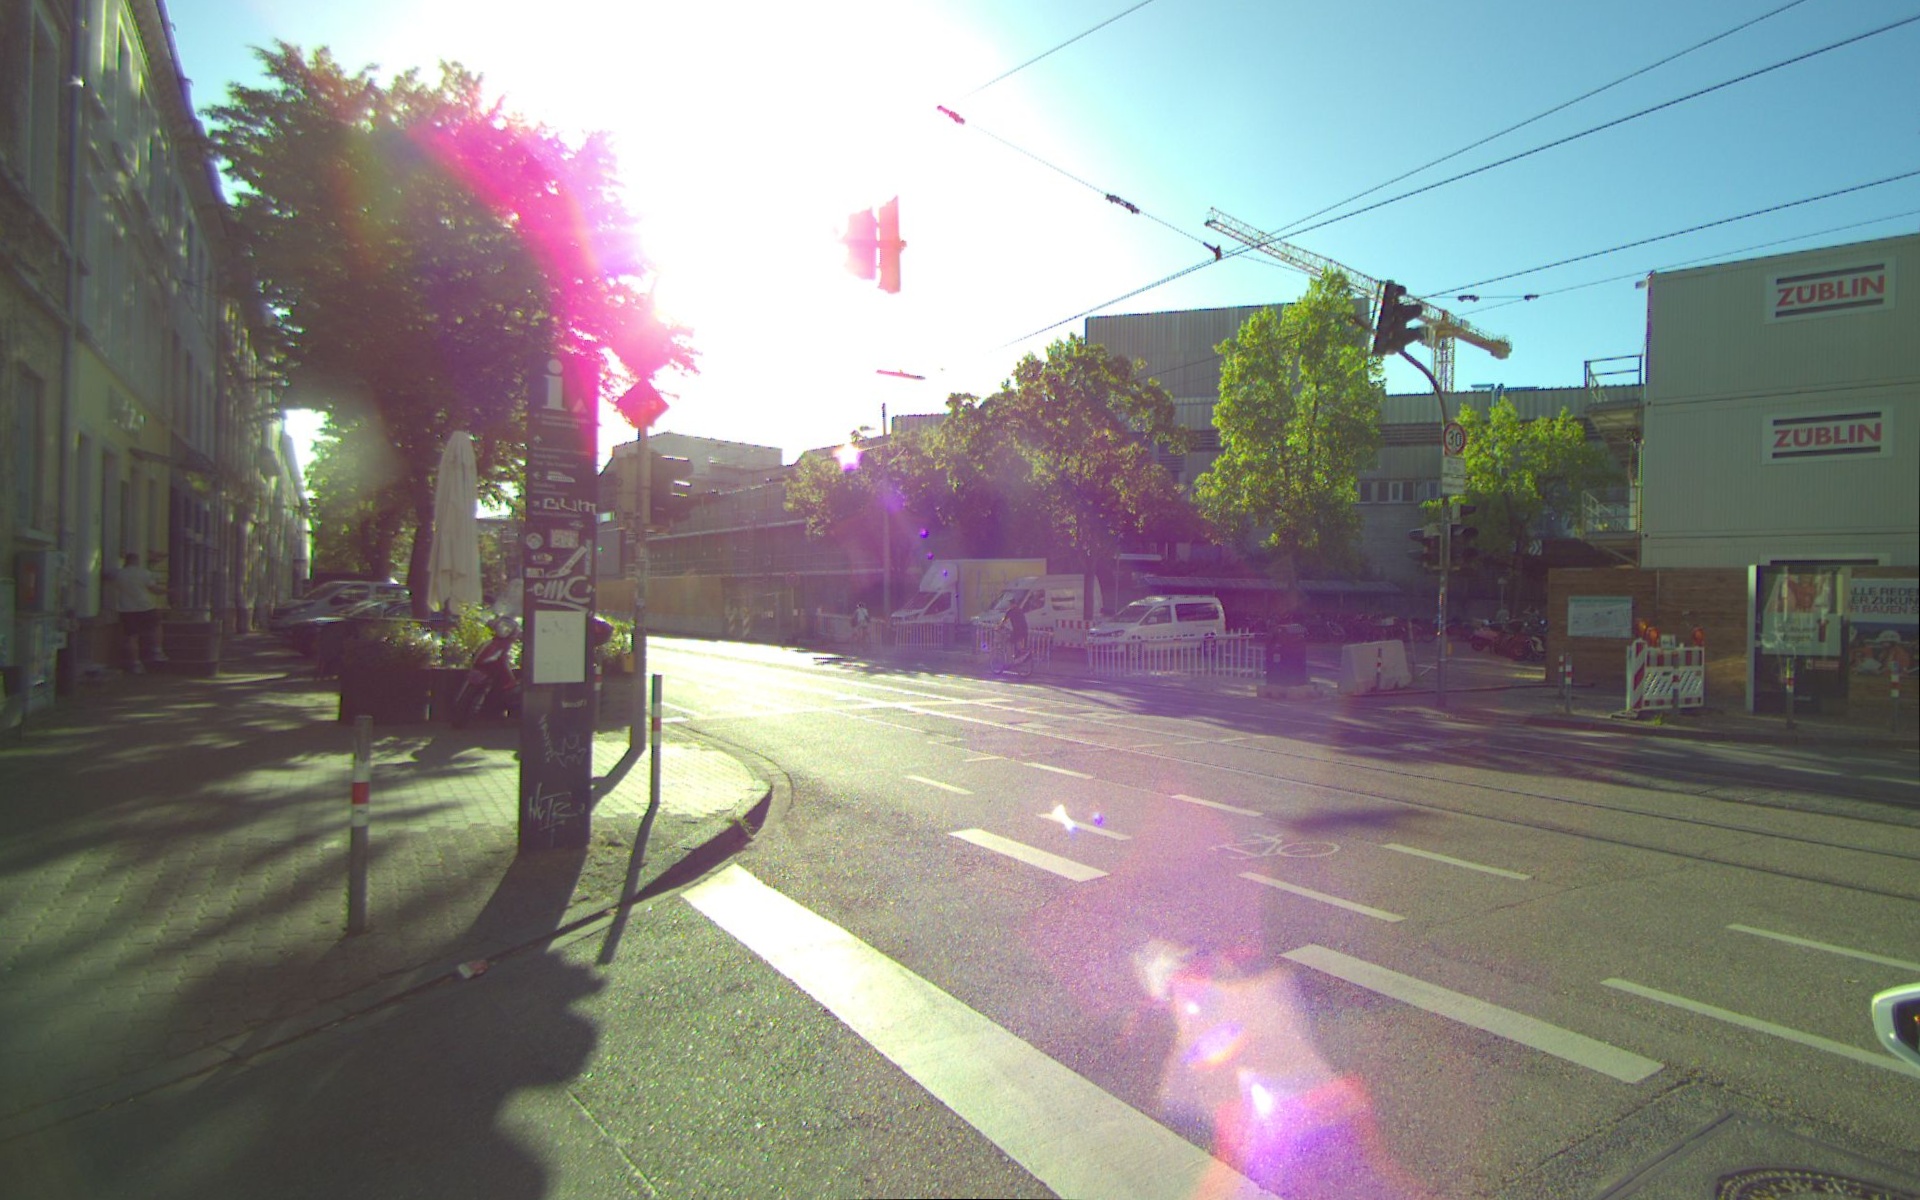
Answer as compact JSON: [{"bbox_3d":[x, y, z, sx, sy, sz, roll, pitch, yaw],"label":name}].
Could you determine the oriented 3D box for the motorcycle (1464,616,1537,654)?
[{"bbox_3d":[18.916,1.212,35.193,2.168,1.274,0.543,0,0,20],"label":"motorcycle"}]

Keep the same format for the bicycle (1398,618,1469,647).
[{"bbox_3d":[20.721,1.411,44.068,0.810,1.163,3.072,0,0,-23],"label":"bicycle"}]

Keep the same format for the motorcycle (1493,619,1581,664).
[{"bbox_3d":[16.860,1.200,29.403,2.168,1.274,0.543,0,0,20],"label":"motorcycle"}]

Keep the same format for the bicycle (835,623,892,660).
[{"bbox_3d":[-3.214,1.361,33.303,0.886,1.107,2.409,3,-1,-32],"label":"bicycle"}]

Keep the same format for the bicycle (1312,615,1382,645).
[{"bbox_3d":[16.169,1.247,42.060,0.810,1.163,3.072,0,0,-23],"label":"bicycle"}]

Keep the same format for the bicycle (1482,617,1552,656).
[{"bbox_3d":[18.797,1.214,33.937,2.010,1.274,0.543,0,0,20],"label":"bicycle"}]

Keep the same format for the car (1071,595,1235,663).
[{"bbox_3d":[6.053,0.834,31.466,4.884,1.918,1.996,-1,1,-28],"label":"car"}]

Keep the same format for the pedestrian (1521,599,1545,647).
[{"bbox_3d":[24.751,1.004,43.386,0.789,2.040,1.028,0,0,34],"label":"pedestrian"}]

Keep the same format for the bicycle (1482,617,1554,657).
[{"bbox_3d":[18.537,1.209,33.400,2.010,1.274,0.543,0,0,20],"label":"bicycle"}]

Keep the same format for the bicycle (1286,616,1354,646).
[{"bbox_3d":[14.784,1.263,41.371,0.810,1.163,3.072,0,0,-23],"label":"bicycle"}]

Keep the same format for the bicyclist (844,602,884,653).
[{"bbox_3d":[-3.203,0.908,33.313,0.886,1.661,1.091,3,-1,-32],"label":"bicyclist"}]

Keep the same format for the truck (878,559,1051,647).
[{"bbox_3d":[0.279,0.068,41.670,7.042,3.393,2.369,-1,1,-33],"label":"truck"}]

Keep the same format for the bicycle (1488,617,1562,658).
[{"bbox_3d":[18.130,1.196,32.276,2.010,1.274,0.543,0,0,20],"label":"bicycle"}]

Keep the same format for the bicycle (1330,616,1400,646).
[{"bbox_3d":[17.094,1.280,42.496,0.810,1.163,3.072,0,0,-23],"label":"bicycle"}]

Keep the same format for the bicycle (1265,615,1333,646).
[{"bbox_3d":[13.794,1.227,40.989,0.810,1.163,3.072,0,0,-23],"label":"bicycle"}]

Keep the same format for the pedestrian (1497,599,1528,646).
[{"bbox_3d":[24.452,0.999,44.488,0.925,2.040,0.799,0,0,-22],"label":"pedestrian"}]

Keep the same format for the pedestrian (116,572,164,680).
[{"bbox_3d":[-12.898,0.397,15.805,0.534,1.665,0.564,0,0,-35],"label":"pedestrian"}]

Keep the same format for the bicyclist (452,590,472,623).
[{"bbox_3d":[-24.685,0.319,49.782,0.719,1.593,1.019,1,0,-33],"label":"bicyclist"}]

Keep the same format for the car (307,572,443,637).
[{"bbox_3d":[-27.049,0.247,46.541,5.149,2.611,2.223,5,-3,-36],"label":"car"}]

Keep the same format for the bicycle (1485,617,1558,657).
[{"bbox_3d":[18.332,1.204,32.834,2.010,1.274,0.543,0,0,20],"label":"bicycle"}]

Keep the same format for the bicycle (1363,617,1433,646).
[{"bbox_3d":[18.795,1.341,43.215,0.810,1.163,3.072,0,0,-23],"label":"bicycle"}]

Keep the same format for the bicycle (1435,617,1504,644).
[{"bbox_3d":[23.454,1.409,46.338,0.810,1.163,3.072,0,0,-23],"label":"bicycle"}]

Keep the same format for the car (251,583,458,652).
[{"bbox_3d":[-19.181,0.529,32.120,2.004,2.018,5.332,1,0,34],"label":"car"}]

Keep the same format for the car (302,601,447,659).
[{"bbox_3d":[-17.460,0.866,30.066,1.659,1.523,3.317,4,1,32],"label":"car"}]

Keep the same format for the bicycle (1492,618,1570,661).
[{"bbox_3d":[17.502,1.210,30.840,2.010,1.274,0.471,0,0,20],"label":"bicycle"}]

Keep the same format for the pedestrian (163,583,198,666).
[{"bbox_3d":[-16.109,0.498,20.762,0.534,1.665,0.564,0,0,-35],"label":"pedestrian"}]

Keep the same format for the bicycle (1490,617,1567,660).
[{"bbox_3d":[17.694,1.192,31.306,2.010,1.274,0.471,0,0,20],"label":"bicycle"}]

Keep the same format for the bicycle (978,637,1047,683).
[{"bbox_3d":[1.258,1.436,24.529,0.675,1.032,1.904,1,-1,-33],"label":"bicycle"}]

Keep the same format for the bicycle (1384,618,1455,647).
[{"bbox_3d":[19.902,1.381,43.638,0.810,1.163,3.072,0,0,-23],"label":"bicycle"}]

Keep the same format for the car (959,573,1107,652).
[{"bbox_3d":[2.705,0.396,36.528,5.327,2.565,1.980,-3,2,-36],"label":"car"}]

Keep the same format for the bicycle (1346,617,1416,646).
[{"bbox_3d":[17.916,1.310,42.821,0.810,1.163,3.072,0,0,-23],"label":"bicycle"}]

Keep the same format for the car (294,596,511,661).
[{"bbox_3d":[-14.208,0.716,25.881,1.660,1.510,4.630,0,-1,34],"label":"car"}]

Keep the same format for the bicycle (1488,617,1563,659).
[{"bbox_3d":[17.869,1.196,31.788,2.010,1.274,0.471,0,0,20],"label":"bicycle"}]

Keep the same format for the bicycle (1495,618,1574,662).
[{"bbox_3d":[17.355,1.189,30.383,2.010,1.274,0.471,0,0,20],"label":"bicycle"}]

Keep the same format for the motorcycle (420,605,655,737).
[{"bbox_3d":[-4.821,0.802,11.697,0.982,1.368,2.419,0,-3,27],"label":"motorcycle"}]

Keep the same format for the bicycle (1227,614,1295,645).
[{"bbox_3d":[11.931,1.160,39.982,0.810,1.163,3.072,0,0,-23],"label":"bicycle"}]

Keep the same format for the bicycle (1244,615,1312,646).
[{"bbox_3d":[12.769,1.190,40.500,0.810,1.163,3.072,0,0,-23],"label":"bicycle"}]

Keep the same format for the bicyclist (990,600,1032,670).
[{"bbox_3d":[1.253,0.837,24.553,0.675,1.680,0.804,1,0,-33],"label":"bicyclist"}]
